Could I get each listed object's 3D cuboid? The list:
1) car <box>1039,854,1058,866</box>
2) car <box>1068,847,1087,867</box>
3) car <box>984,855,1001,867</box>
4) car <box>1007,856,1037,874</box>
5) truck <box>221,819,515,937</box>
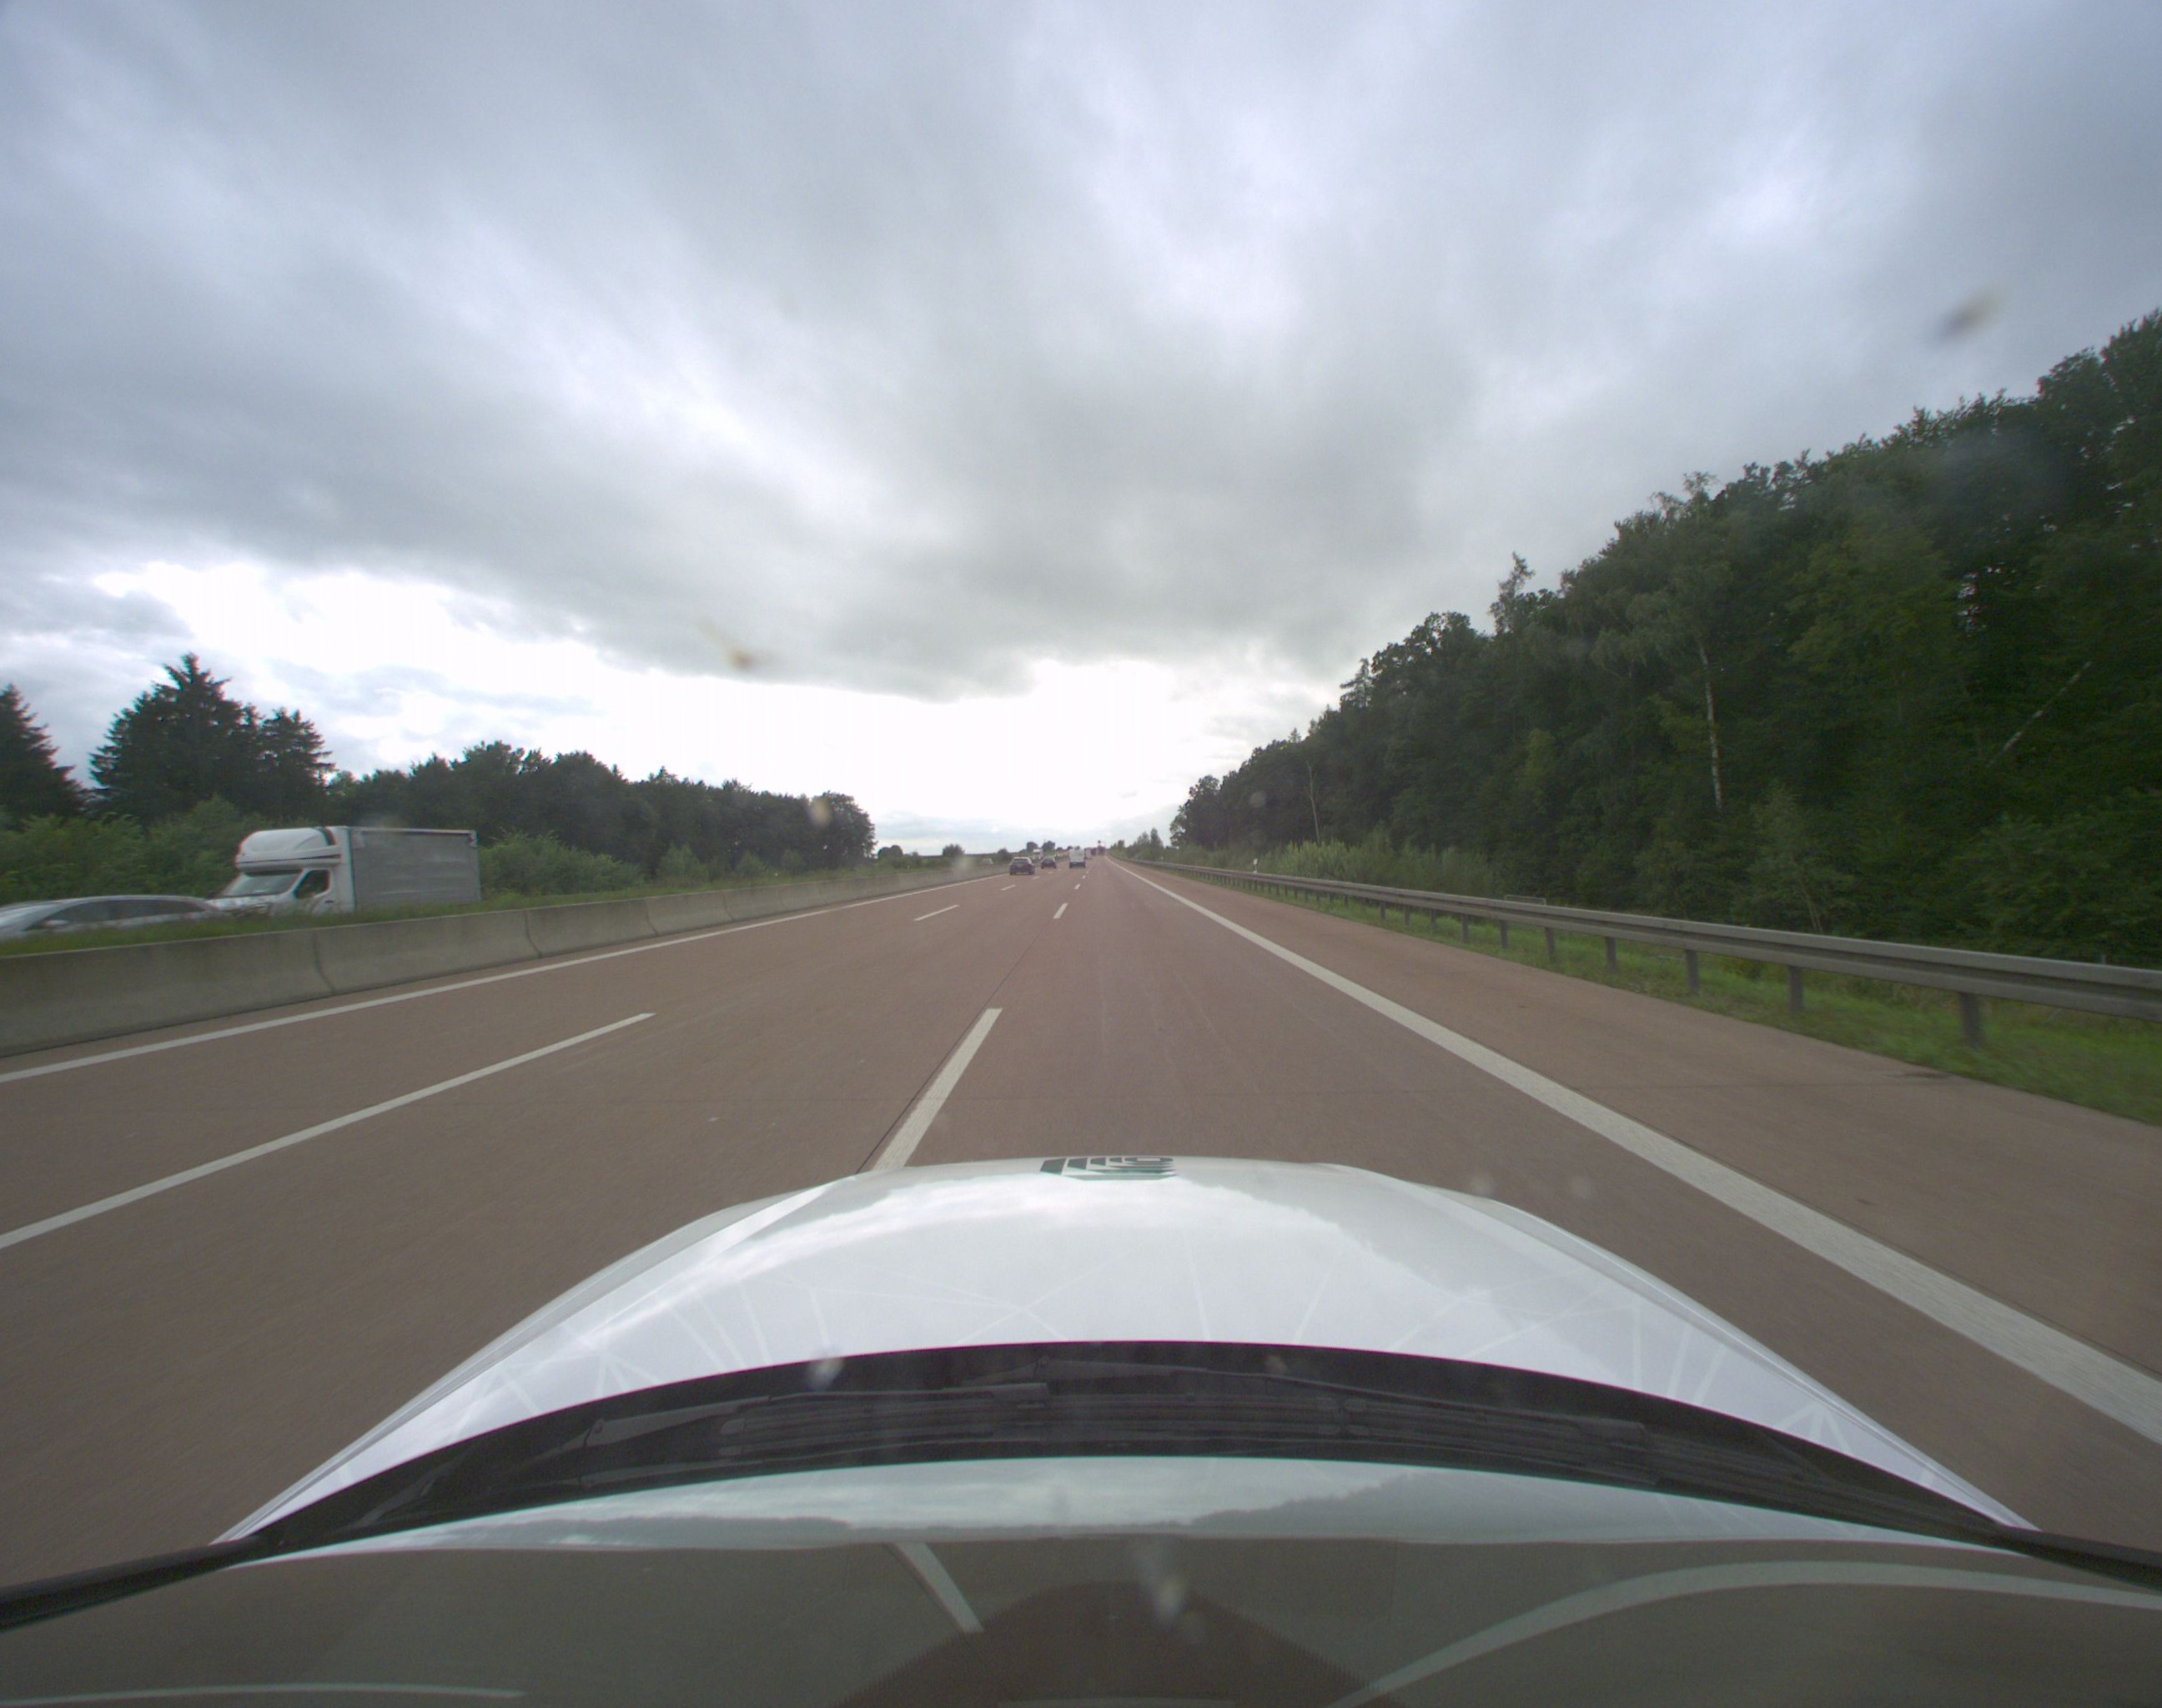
[{"bbox_3d":[-4.174,0.753,105.160,2.077,1.550,5.676,0,0,2],"label":"car"},{"bbox_3d":[-0.438,0.363,105.986,2.129,2.507,7.135,-1,0,2],"label":"car"},{"bbox_3d":[-14.149,1.093,130.681,1.986,1.764,4.001,5,0,1],"label":"car"},{"bbox_3d":[-5.045,0.907,70.219,2.052,1.491,5.454,-1,0,1],"label":"car"},{"bbox_3d":[-21.478,0.640,25.305,2.348,3.099,7.483,1,0,1],"label":"truck"}]
